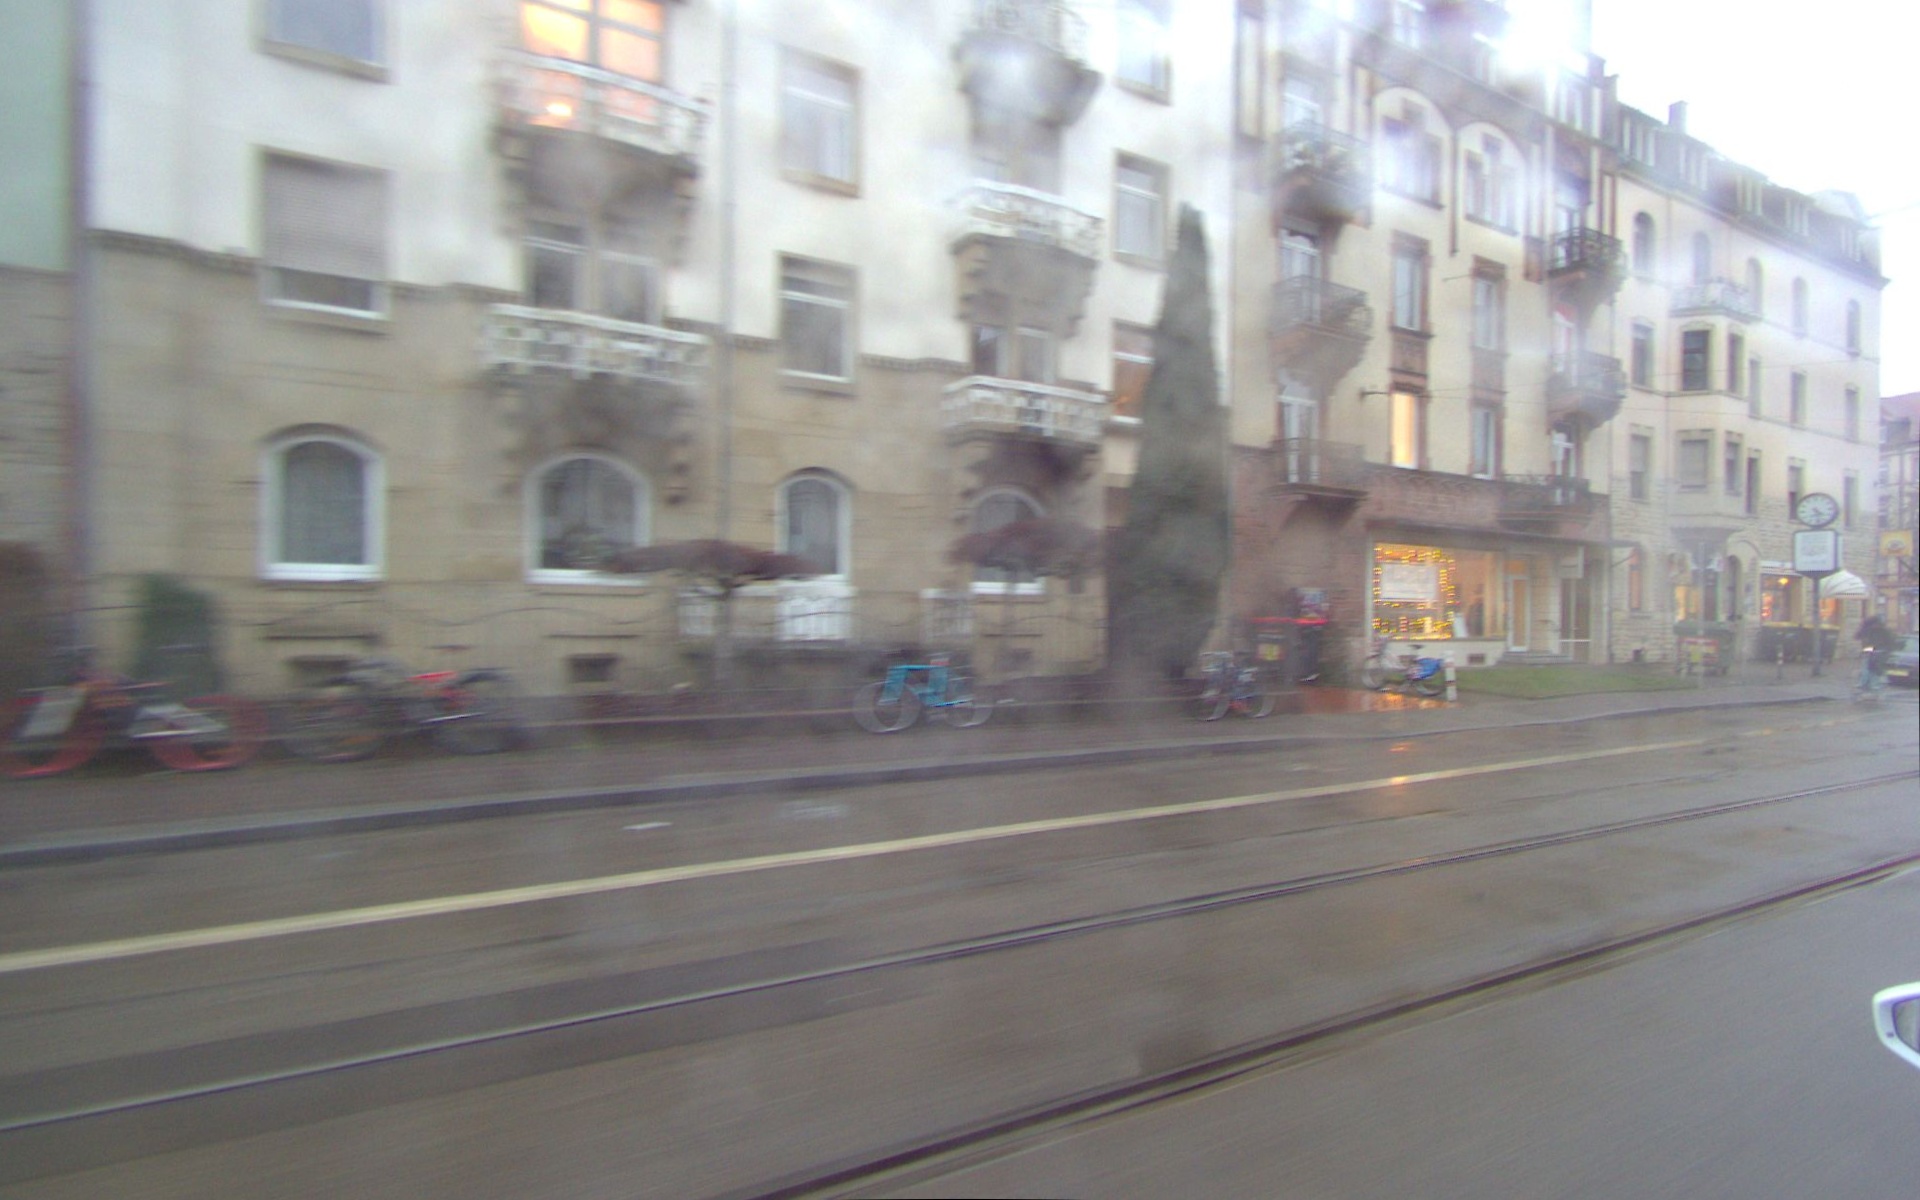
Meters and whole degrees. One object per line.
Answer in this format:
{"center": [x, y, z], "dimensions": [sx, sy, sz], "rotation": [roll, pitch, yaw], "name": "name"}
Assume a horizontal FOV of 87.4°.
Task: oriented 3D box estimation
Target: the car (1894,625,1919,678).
{"center": [31.724, 1.668, 31.990], "dimensions": [3.991, 1.573, 2.024], "rotation": [0, 3, -35], "name": "car"}

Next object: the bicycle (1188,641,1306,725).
{"center": [4.110, 1.159, 14.355], "dimensions": [1.641, 1.107, 0.621], "rotation": [1, 0, -28], "name": "bicycle"}

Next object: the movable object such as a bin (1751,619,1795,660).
{"center": [28.701, 1.392, 35.472], "dimensions": [0.994, 1.396, 0.895], "rotation": [1, 0, -30], "name": "movable object such as a bin"}

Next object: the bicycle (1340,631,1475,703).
{"center": [8.276, 1.204, 18.700], "dimensions": [0.686, 1.120, 2.339], "rotation": [1, 2, -28], "name": "bicycle"}

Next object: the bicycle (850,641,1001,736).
{"center": [-0.388, 0.998, 11.651], "dimensions": [1.641, 1.016, 0.621], "rotation": [1, 0, -28], "name": "bicycle"}

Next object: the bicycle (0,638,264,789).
{"center": [-6.574, 0.850, 7.920], "dimensions": [1.705, 1.080, 0.621], "rotation": [1, 0, -28], "name": "bicycle"}

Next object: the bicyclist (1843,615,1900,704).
{"center": [19.926, 1.290, 21.967], "dimensions": [0.979, 1.901, 0.621], "rotation": [1, 0, -28], "name": "bicyclist"}

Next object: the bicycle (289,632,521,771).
{"center": [-4.942, 0.864, 9.050], "dimensions": [1.761, 1.141, 0.621], "rotation": [1, 0, -28], "name": "bicycle"}

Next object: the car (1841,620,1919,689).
{"center": [27.188, 1.542, 28.521], "dimensions": [4.581, 1.667, 1.974], "rotation": [2, 4, -33], "name": "car"}

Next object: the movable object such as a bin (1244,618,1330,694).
{"center": [6.585, 1.105, 20.258], "dimensions": [1.153, 1.398, 1.097], "rotation": [1, 2, -28], "name": "movable object such as a bin"}

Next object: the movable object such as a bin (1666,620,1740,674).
{"center": [20.553, 1.281, 27.796], "dimensions": [1.235, 1.439, 1.262], "rotation": [1, 0, -29], "name": "movable object such as a bin"}

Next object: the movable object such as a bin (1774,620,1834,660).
{"center": [30.030, 1.410, 35.747], "dimensions": [1.237, 1.385, 1.288], "rotation": [1, 0, -30], "name": "movable object such as a bin"}

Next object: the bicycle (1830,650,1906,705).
{"center": [19.781, 1.664, 21.880], "dimensions": [1.923, 1.107, 0.621], "rotation": [1, 0, -28], "name": "bicycle"}
